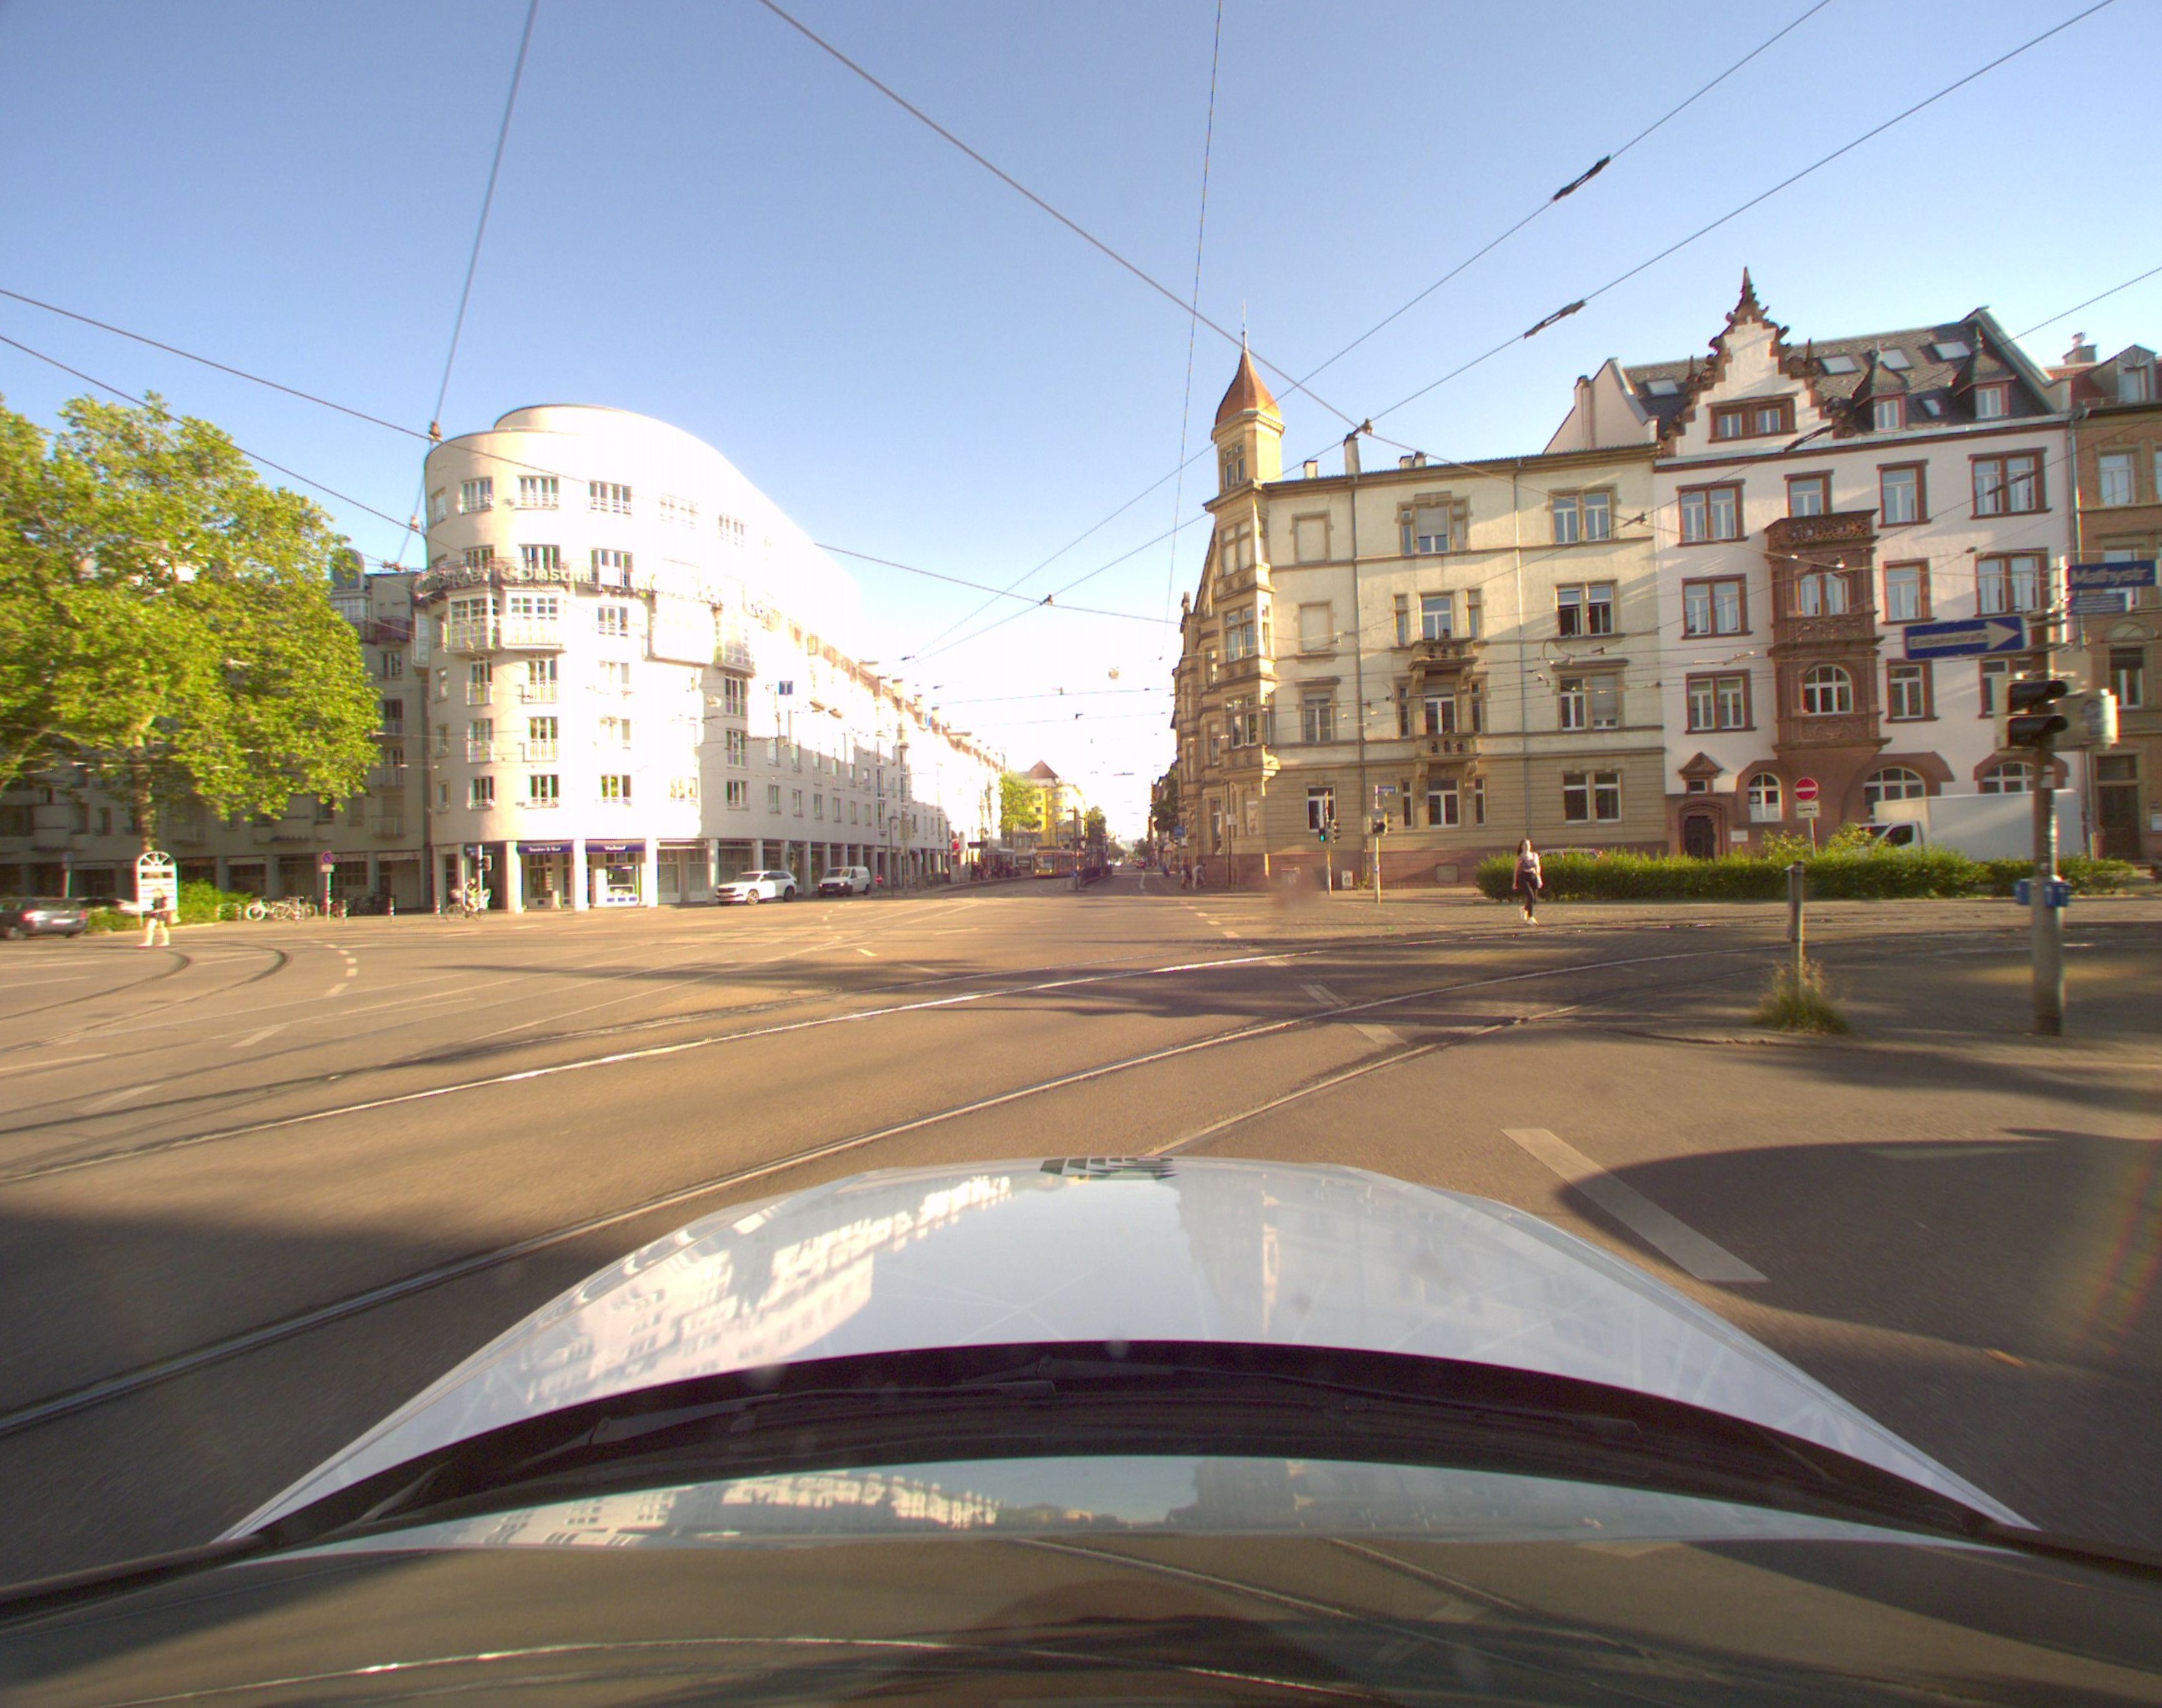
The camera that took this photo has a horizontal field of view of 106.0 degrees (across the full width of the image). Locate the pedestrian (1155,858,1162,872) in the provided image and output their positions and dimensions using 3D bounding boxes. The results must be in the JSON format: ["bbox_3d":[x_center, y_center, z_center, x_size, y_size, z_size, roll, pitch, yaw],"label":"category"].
[{"bbox_3d":[10.085,1.472,105.743,0.711,1.774,0.773,-5,0,1],"label":"pedestrian"}]

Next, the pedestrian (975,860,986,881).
[{"bbox_3d":[-8.399,1.402,67.913,0.523,1.733,0.756,0,-2,-45],"label":"pedestrian"}]

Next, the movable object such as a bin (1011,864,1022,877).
[{"bbox_3d":[-6.663,1.738,84.096,0.934,1.287,0.935,-2,-1,2],"label":"movable object such as a bin"}]

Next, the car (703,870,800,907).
[{"bbox_3d":[-16.327,1.656,40.626,1.978,1.620,4.530,-2,-1,17],"label":"car"}]

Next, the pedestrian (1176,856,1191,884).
[{"bbox_3d":[6.748,1.050,53.584,0.797,1.824,0.798,-3,0,3],"label":"pedestrian"}]

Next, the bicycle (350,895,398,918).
[{"bbox_3d":[-37.324,2.775,43.009,1.932,1.107,0.820,-2,-1,6],"label":"bicycle"}]

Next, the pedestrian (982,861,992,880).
[{"bbox_3d":[-8.295,1.433,71.788,0.698,1.691,0.667,-1,-1,-20],"label":"pedestrian"}]

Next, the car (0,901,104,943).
[{"bbox_3d":[-40.865,2.649,31.464,4.416,1.421,1.895,-2,0,7],"label":"car"}]

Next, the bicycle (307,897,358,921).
[{"bbox_3d":[-37.466,2.771,40.793,1.931,1.107,0.821,-2,-1,8],"label":"bicycle"}]

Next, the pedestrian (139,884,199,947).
[{"bbox_3d":[-25.581,1.722,22.845,0.862,1.681,0.699,-3,1,12],"label":"pedestrian"}]

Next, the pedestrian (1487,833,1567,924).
[{"bbox_3d":[9.333,0.497,17.086,1.019,1.807,1.083,-2,-1,0],"label":"pedestrian"}]

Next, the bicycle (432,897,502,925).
[{"bbox_3d":[-24.151,2.229,32.101,0.836,0.927,2.270,-2,0,8],"label":"bicycle"}]

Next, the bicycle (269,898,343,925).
[{"bbox_3d":[-37.197,2.746,39.122,2.436,1.107,0.935,-2,-1,-10],"label":"bicycle"}]

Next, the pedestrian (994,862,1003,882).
[{"bbox_3d":[-7.647,1.679,75.856,0.693,1.905,0.672,-2,-1,1],"label":"pedestrian"}]

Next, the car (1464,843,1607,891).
[{"bbox_3d":[16.745,0.483,30.248,4.230,1.632,1.951,-2,-1,12],"label":"car"}]

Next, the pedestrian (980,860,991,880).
[{"bbox_3d":[-8.210,1.370,70.005,0.698,1.691,0.667,-1,-1,-20],"label":"pedestrian"}]

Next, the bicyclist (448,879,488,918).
[{"bbox_3d":[-24.165,1.755,32.121,0.836,1.467,0.898,-2,-1,8],"label":"bicyclist"}]

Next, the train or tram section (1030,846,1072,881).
[{"bbox_3d":[-3.231,1.111,92.091,2.872,3.490,14.184,-4,-1,4],"label":"train or tram section"}]

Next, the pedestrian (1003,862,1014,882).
[{"bbox_3d":[-6.945,1.715,77.944,0.928,1.905,0.881,-2,-1,1],"label":"pedestrian"}]

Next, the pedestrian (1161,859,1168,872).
[{"bbox_3d":[10.826,1.490,106.016,0.711,1.602,0.773,-5,0,1],"label":"pedestrian"}]

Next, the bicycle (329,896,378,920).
[{"bbox_3d":[-37.311,2.771,41.773,1.931,1.107,0.821,-2,-1,8],"label":"bicycle"}]

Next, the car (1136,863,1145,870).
[{"bbox_3d":[13.153,2.688,179.634,1.985,1.449,4.004,-1,-1,4],"label":"car"}]

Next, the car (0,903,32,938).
[{"bbox_3d":[-49.435,3.013,35.643,1.787,1.510,4.002,-2,-1,3],"label":"car"}]

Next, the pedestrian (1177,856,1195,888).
[{"bbox_3d":[5.696,0.982,44.170,0.791,1.721,0.720,-3,-2,2],"label":"pedestrian"}]

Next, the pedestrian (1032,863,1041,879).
[{"bbox_3d":[-5.351,2.048,97.097,0.879,1.905,0.931,-1,-1,-12],"label":"pedestrian"}]

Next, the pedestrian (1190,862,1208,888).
[{"bbox_3d":[6.292,1.098,43.375,0.791,1.331,0.720,-3,-2,2],"label":"pedestrian"}]

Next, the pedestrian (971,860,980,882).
[{"bbox_3d":[-8.535,1.365,65.804,0.596,1.692,0.614,-2,-1,4],"label":"pedestrian"}]

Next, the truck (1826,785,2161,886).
[{"bbox_3d":[30.803,-0.565,27.784,8.013,3.080,2.335,-1,-1,7],"label":"truck"}]

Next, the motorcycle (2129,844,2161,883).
[{"bbox_3d":[30.184,0.214,22.359,0.602,1.021,1.757,-2,-6,8],"label":"motorcycle"}]

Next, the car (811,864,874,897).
[{"bbox_3d":[-14.758,1.611,50.774,1.985,1.837,5.351,-2,-1,3],"label":"car"}]

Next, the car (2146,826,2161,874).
[{"bbox_3d":[38.789,-0.219,26.811,4.230,1.632,1.951,-2,-2,12],"label":"car"}]

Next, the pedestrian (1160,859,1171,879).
[{"bbox_3d":[7.395,1.326,71.288,0.759,1.645,0.833,-3,0,3],"label":"pedestrian"}]

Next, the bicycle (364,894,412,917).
[{"bbox_3d":[-37.330,2.778,43.880,1.932,1.107,0.820,-2,-1,6],"label":"bicycle"}]

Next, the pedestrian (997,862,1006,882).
[{"bbox_3d":[-7.442,1.688,76.405,0.693,1.905,0.672,-2,-1,1],"label":"pedestrian"}]
